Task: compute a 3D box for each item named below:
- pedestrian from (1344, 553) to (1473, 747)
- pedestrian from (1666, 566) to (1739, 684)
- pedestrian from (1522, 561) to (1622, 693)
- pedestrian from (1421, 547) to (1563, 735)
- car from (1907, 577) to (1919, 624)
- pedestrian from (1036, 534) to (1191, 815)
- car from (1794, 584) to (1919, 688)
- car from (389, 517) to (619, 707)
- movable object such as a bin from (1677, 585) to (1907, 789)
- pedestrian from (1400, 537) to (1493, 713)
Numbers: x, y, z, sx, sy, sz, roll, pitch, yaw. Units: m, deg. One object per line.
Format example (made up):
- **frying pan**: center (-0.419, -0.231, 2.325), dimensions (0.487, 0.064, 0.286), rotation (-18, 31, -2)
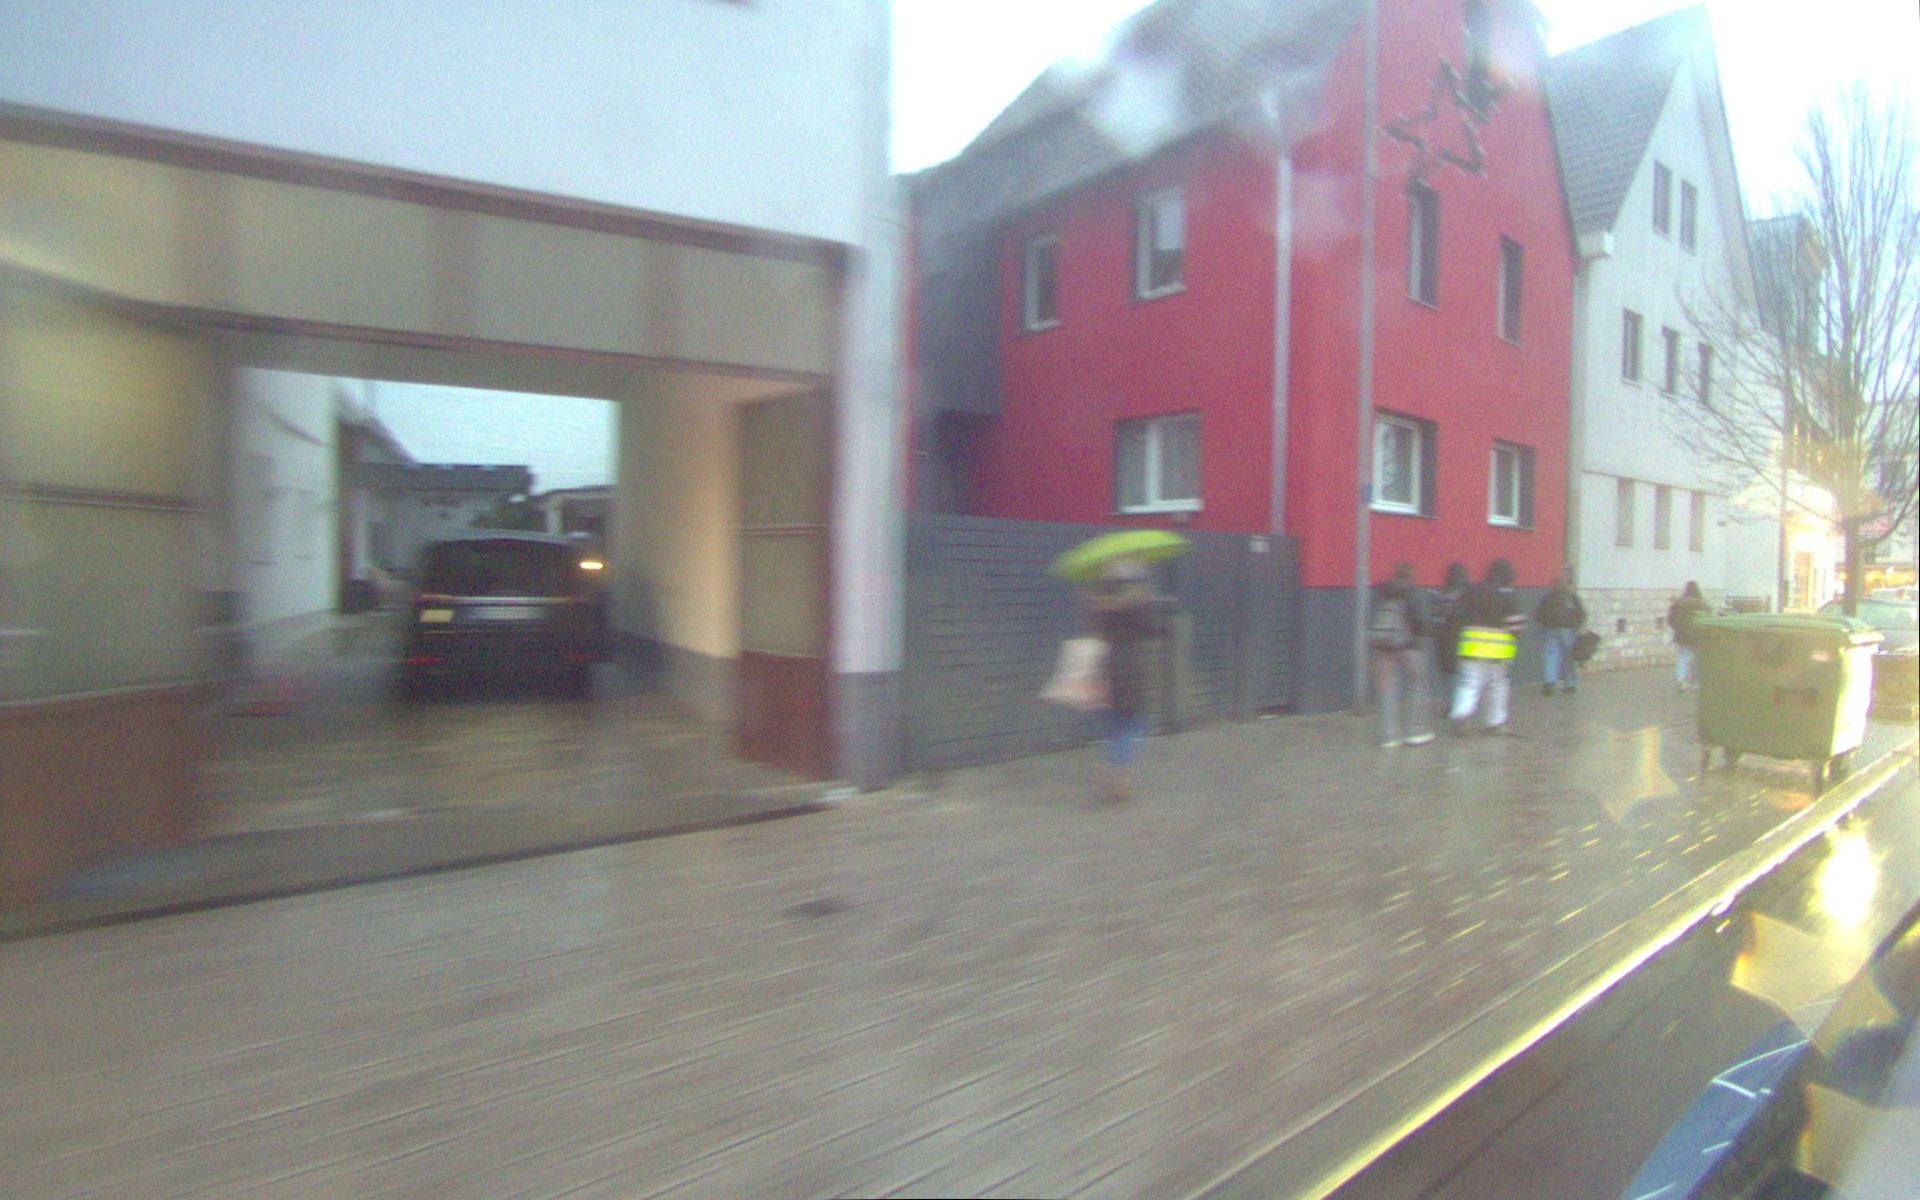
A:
- **pedestrian**: center (4.018, 0.426, 9.067), dimensions (0.998, 1.650, 0.482), rotation (1, 1, -28)
- **pedestrian**: center (11.061, 0.355, 15.074), dimensions (0.935, 1.673, 0.531), rotation (-3, 1, -31)
- **pedestrian**: center (8.306, 0.347, 13.740), dimensions (1.032, 1.699, 0.750), rotation (1, 2, -35)
- **pedestrian**: center (5.165, 0.368, 9.844), dimensions (1.013, 1.736, 0.716), rotation (1, 1, -28)
- **car**: center (38.357, 0.033, 39.160), dimensions (1.813, 1.767, 3.953), rotation (-1, 2, 34)
- **pedestrian**: center (0.997, 0.432, 6.473), dimensions (0.616, 1.647, 0.895), rotation (1, 0, 36)
- **car**: center (15.742, 0.541, 17.087), dimensions (4.123, 1.482, 1.733), rotation (0, 4, -39)
- **car**: center (-4.947, 0.037, 10.823), dimensions (1.850, 1.613, 4.007), rotation (1, 2, -27)
- **movable object such as a bin**: center (6.863, 0.645, 8.351), dimensions (1.392, 1.437, 1.132), rotation (1, 4, -39)
- **pedestrian**: center (5.272, 0.257, 10.964), dimensions (0.847, 1.823, 0.531), rotation (0, 0, -31)
